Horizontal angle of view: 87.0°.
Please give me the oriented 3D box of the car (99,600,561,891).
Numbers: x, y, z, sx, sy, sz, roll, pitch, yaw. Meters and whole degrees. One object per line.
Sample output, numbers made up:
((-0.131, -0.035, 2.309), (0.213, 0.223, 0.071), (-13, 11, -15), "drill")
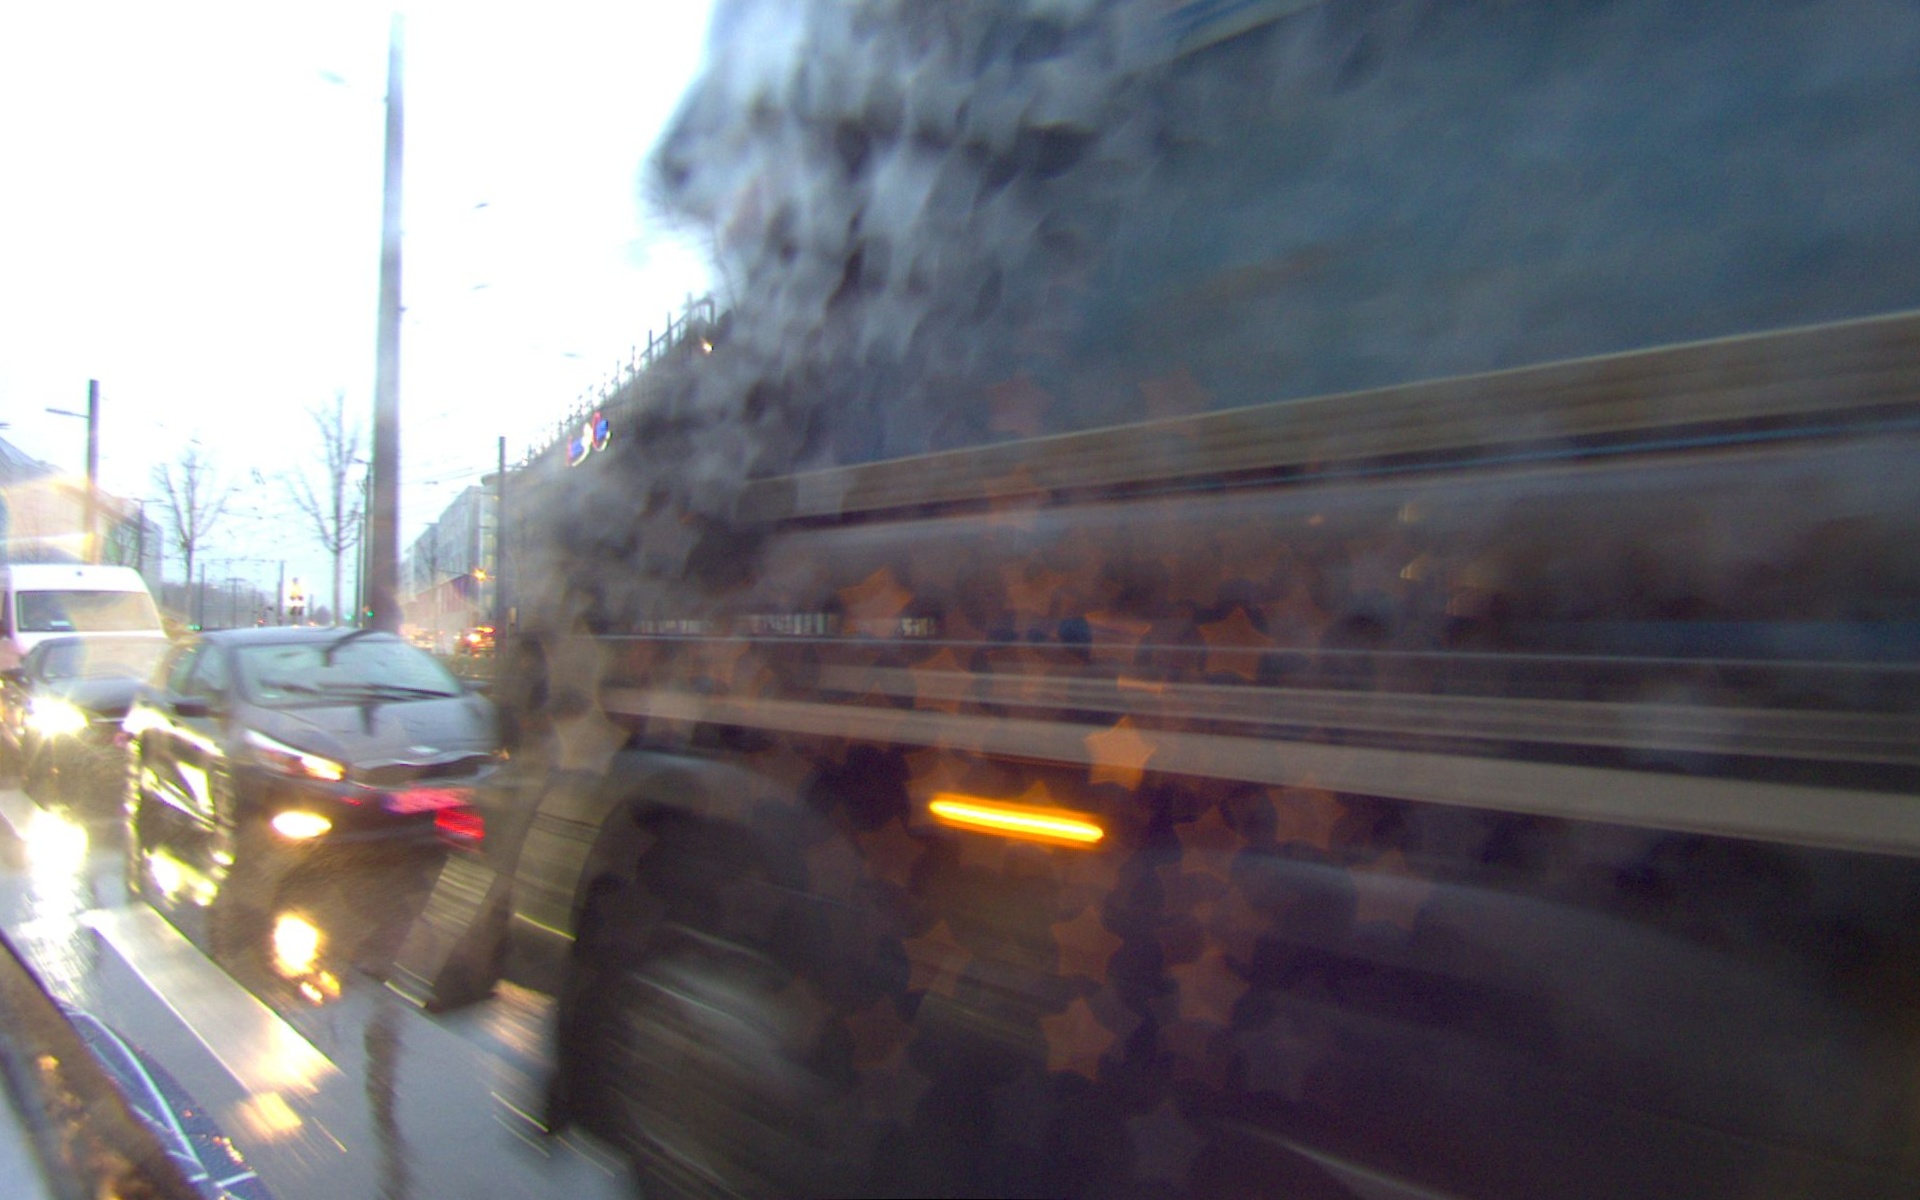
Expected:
((-4.652, 0.841, 7.256), (3.937, 1.535, 1.614), (-2, -3, 39), "car")

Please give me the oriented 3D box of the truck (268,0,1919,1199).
((1.975, -0.370, 1.441), (7.518, 3.661, 2.811), (-2, -2, 39), "truck")

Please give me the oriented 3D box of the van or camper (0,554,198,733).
((-15.096, 0.694, 17.124), (5.892, 2.551, 2.127), (-2, -2, 39), "van or camper")

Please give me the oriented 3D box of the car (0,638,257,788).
((-9.465, 1.114, 11.331), (4.055, 1.355, 1.736), (-2, -2, 42), "car")

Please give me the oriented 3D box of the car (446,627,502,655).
((-26.071, 2.186, 54.210), (1.765, 1.431, 3.905), (1, -2, -41), "car")

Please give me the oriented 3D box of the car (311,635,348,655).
((-47.205, 3.364, 75.749), (1.765, 1.431, 3.904), (1, -2, -41), "car")

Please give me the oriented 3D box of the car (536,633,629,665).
((-15.766, 2.018, 42.155), (4.372, 1.247, 1.820), (-2, -2, 41), "car")

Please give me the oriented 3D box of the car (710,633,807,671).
((-8.611, 2.186, 43.060), (4.285, 1.515, 1.821), (-2, -2, 40), "car")

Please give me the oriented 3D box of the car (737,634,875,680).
((-4.984, 1.777, 32.499), (4.557, 1.340, 1.611), (-1, -1, 36), "car")
